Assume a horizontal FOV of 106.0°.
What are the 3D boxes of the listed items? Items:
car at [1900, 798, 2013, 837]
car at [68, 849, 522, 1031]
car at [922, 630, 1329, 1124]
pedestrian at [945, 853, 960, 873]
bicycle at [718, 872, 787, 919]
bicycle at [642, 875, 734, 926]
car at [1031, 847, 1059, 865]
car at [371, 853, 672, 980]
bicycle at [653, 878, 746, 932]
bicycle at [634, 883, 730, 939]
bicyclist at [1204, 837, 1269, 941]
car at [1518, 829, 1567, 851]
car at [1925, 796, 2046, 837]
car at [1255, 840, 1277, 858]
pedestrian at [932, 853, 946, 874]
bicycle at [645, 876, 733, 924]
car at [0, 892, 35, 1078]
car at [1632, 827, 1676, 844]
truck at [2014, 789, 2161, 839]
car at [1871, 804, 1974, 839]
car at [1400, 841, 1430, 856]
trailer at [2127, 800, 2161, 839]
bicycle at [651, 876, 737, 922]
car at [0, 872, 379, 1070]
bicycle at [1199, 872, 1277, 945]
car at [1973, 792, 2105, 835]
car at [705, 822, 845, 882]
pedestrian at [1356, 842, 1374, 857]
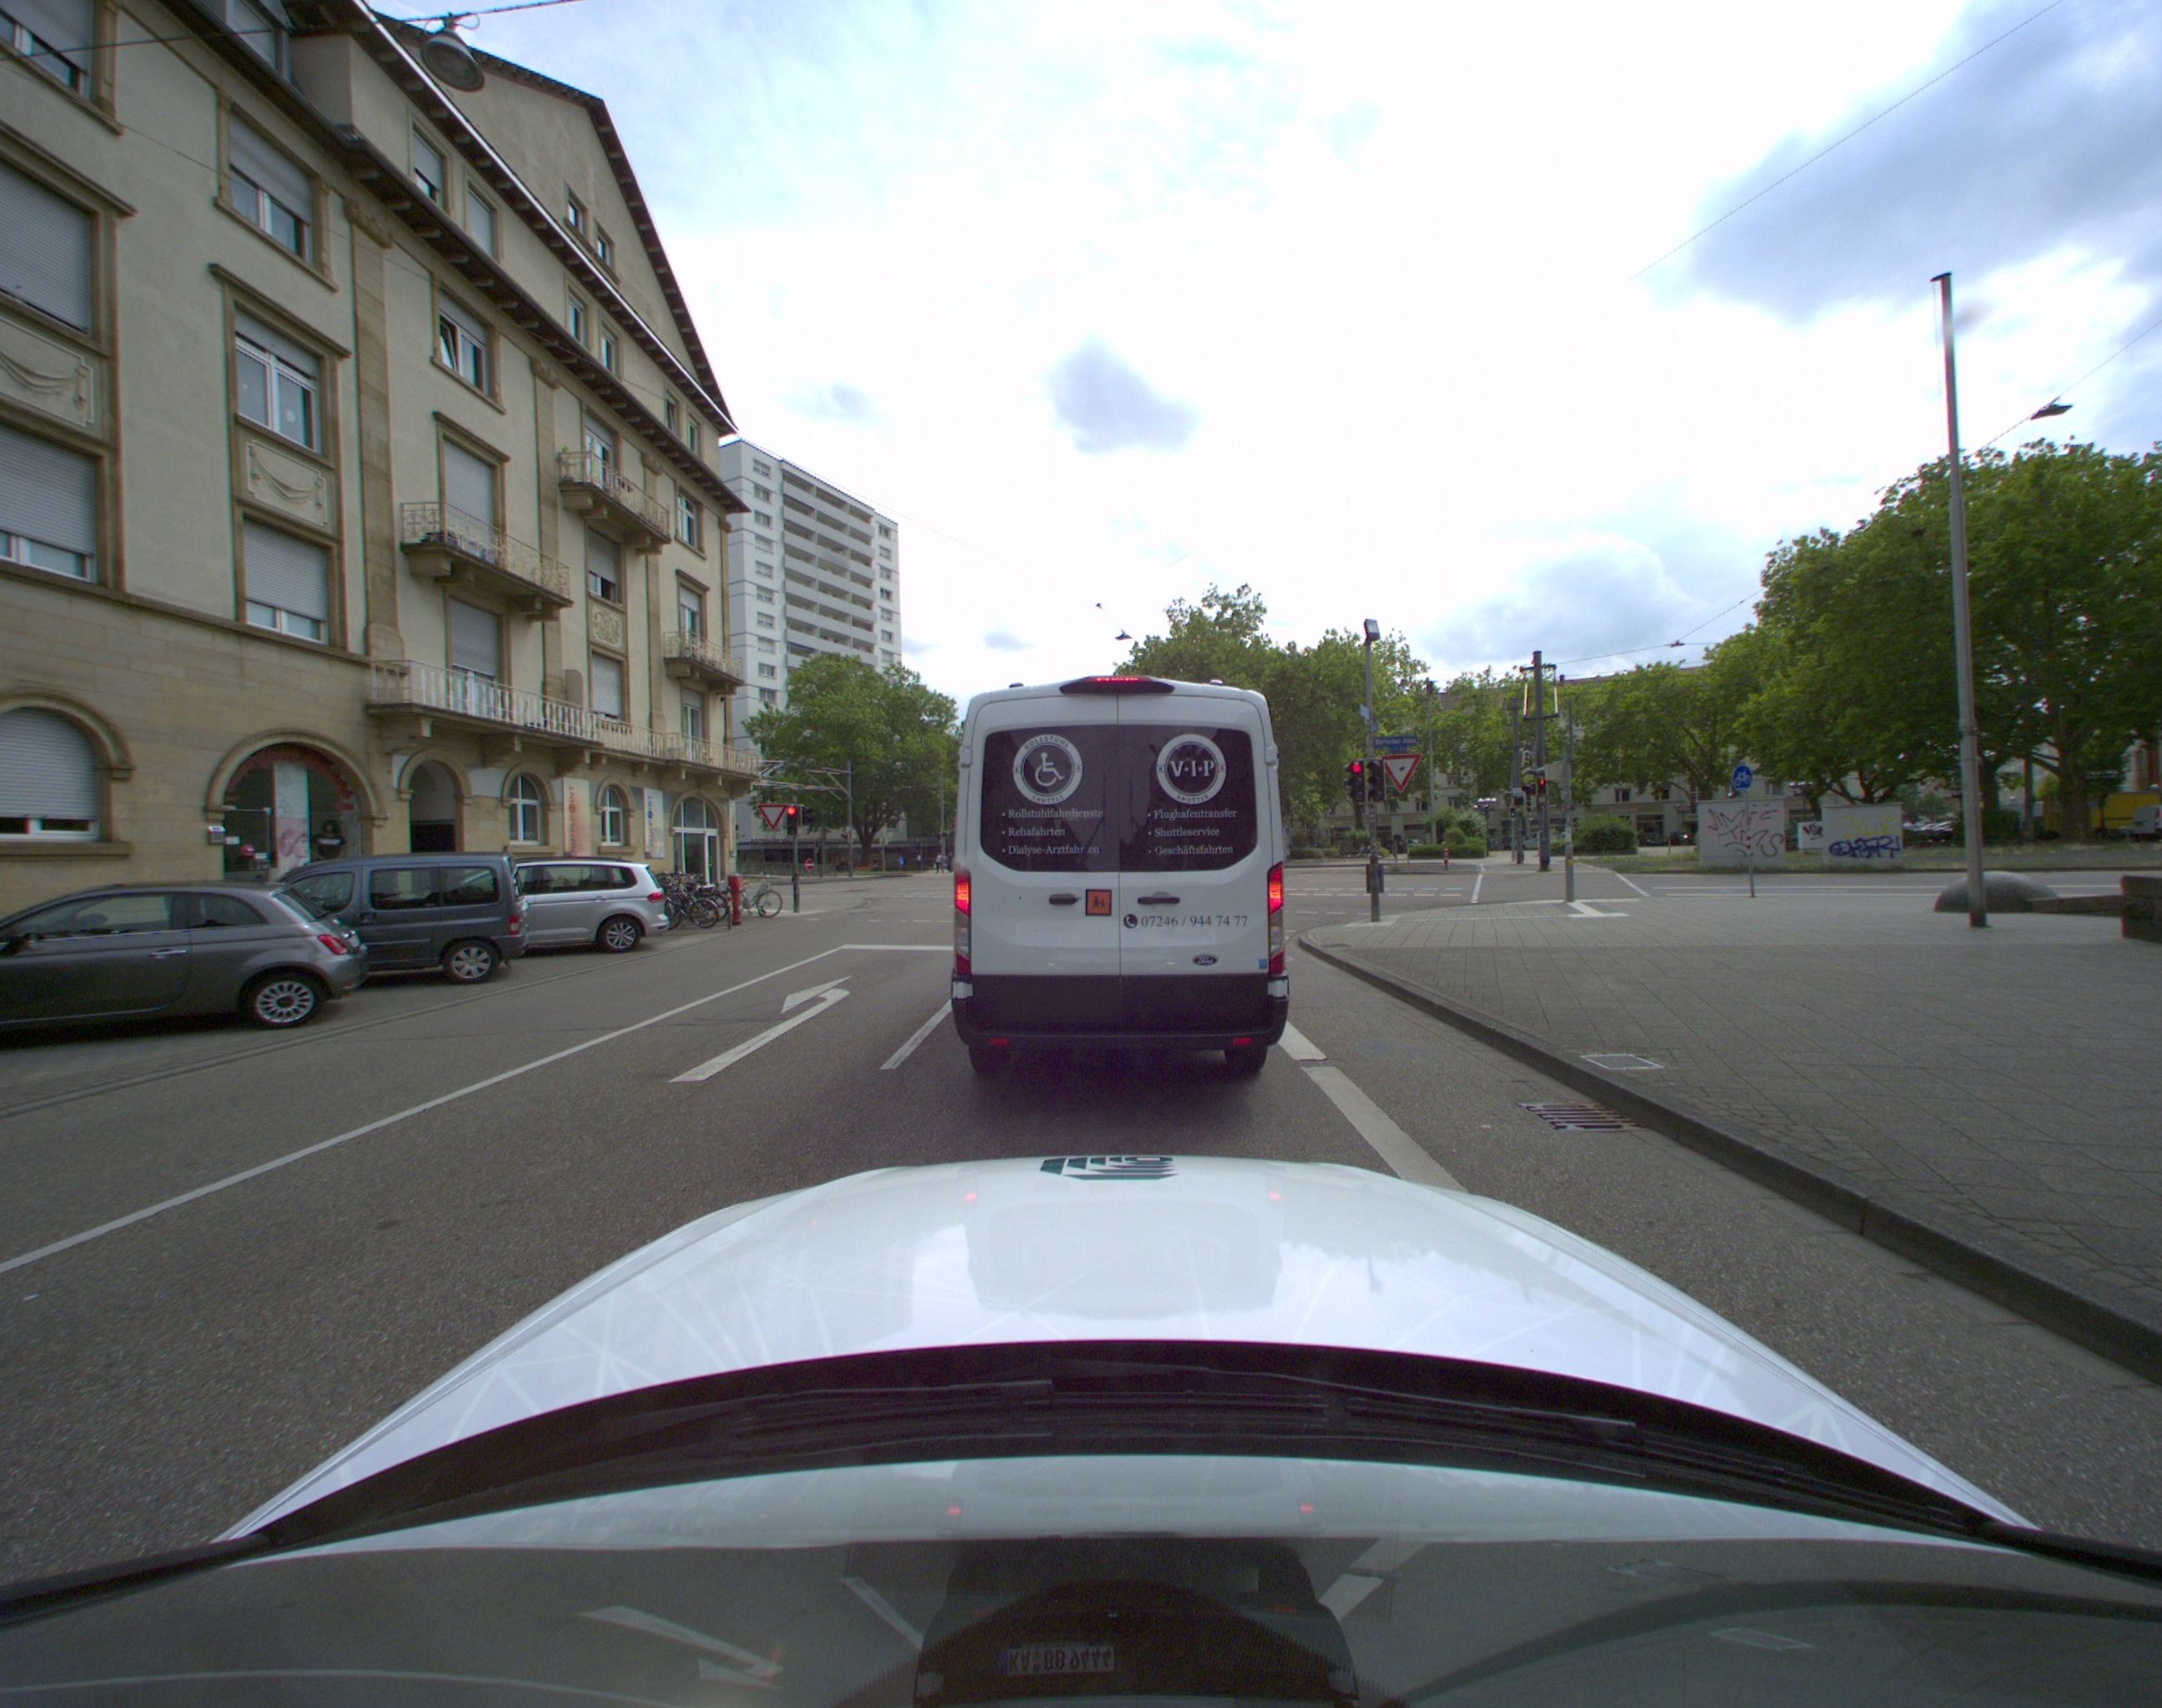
[{"bbox_3d":[66.635,-2.735,62.135,5.271,2.585,2.512,-2,-1,24],"label":"car"},{"bbox_3d":[-9.932,0.943,10.804,4.031,1.878,1.776,-2,0,-37],"label":"car"},{"bbox_3d":[0.262,0.089,6.690,2.174,2.647,4.629,0,1,0],"label":"car"},{"bbox_3d":[-10.138,0.728,64.231,0.922,1.514,0.727,-2,0,16],"label":"pedestrian"},{"bbox_3d":[-8.645,1.083,21.434,1.859,1.167,0.500,0,0,22],"label":"bicycle"},{"bbox_3d":[-9.154,1.076,19.019,1.807,1.166,0.593,0,0,-6],"label":"bicycle"},{"bbox_3d":[-3.111,0.149,71.523,1.611,1.476,4.011,-2,1,9],"label":"car"},{"bbox_3d":[-9.494,0.948,14.088,4.031,1.773,1.776,-2,0,-37],"label":"car"},{"bbox_3d":[-8.550,1.137,18.265,1.800,1.120,0.595,2,0,5],"label":"bicycle"},{"bbox_3d":[-8.618,1.232,17.595,1.799,1.120,0.595,-2,0,8],"label":"bicycle"},{"bbox_3d":[2.613,0.571,13.791,0.901,1.683,0.756,-2,0,-2],"label":"bicyclist"},{"bbox_3d":[44.380,-1.324,78.452,3.950,1.883,1.868,-2,0,26],"label":"car"},{"bbox_3d":[65.694,-2.666,59.318,5.271,2.585,2.512,-2,-1,24],"label":"car"},{"bbox_3d":[21.638,-0.574,95.350,1.983,1.930,4.008,-2,0,7],"label":"car"},{"bbox_3d":[-11.245,0.751,64.367,0.801,1.572,0.727,-2,0,16],"label":"pedestrian"},{"bbox_3d":[-9.465,1.103,19.695,1.807,1.120,0.593,0,0,-6],"label":"bicycle"},{"bbox_3d":[-9.927,1.090,4.982,3.919,1.443,1.818,-2,0,-34],"label":"car"},{"bbox_3d":[55.777,-1.761,79.393,1.757,1.503,4.008,-2,0,7],"label":"car"},{"bbox_3d":[58.241,-2.240,47.205,3.042,2.577,6.549,-2,0,25],"label":"truck"},{"bbox_3d":[68.877,-2.600,66.790,5.271,2.585,2.512,-2,-1,24],"label":"car"},{"bbox_3d":[36.209,-0.571,88.276,1.983,1.503,4.008,-2,0,7],"label":"car"},{"bbox_3d":[55.366,-1.769,40.054,4.381,1.925,1.865,-2,0,26],"label":"trailer"},{"bbox_3d":[-9.646,1.112,20.340,1.807,1.120,0.593,0,0,-6],"label":"bicycle"},{"bbox_3d":[-9.827,1.094,8.197,4.031,1.651,1.776,-2,0,-37],"label":"car"},{"bbox_3d":[2.626,0.885,13.863,0.900,1.075,1.969,-2,0,-1],"label":"bicycle"},{"bbox_3d":[64.479,-2.679,54.941,5.271,2.585,2.192,-2,-1,24],"label":"car"},{"bbox_3d":[-21.933,-0.123,58.237,9.793,3.915,3.476,-2,0,26],"label":"car"},{"bbox_3d":[24.660,-0.391,70.755,1.086,1.236,1.443,-4,-1,6],"label":"pedestrian"}]
